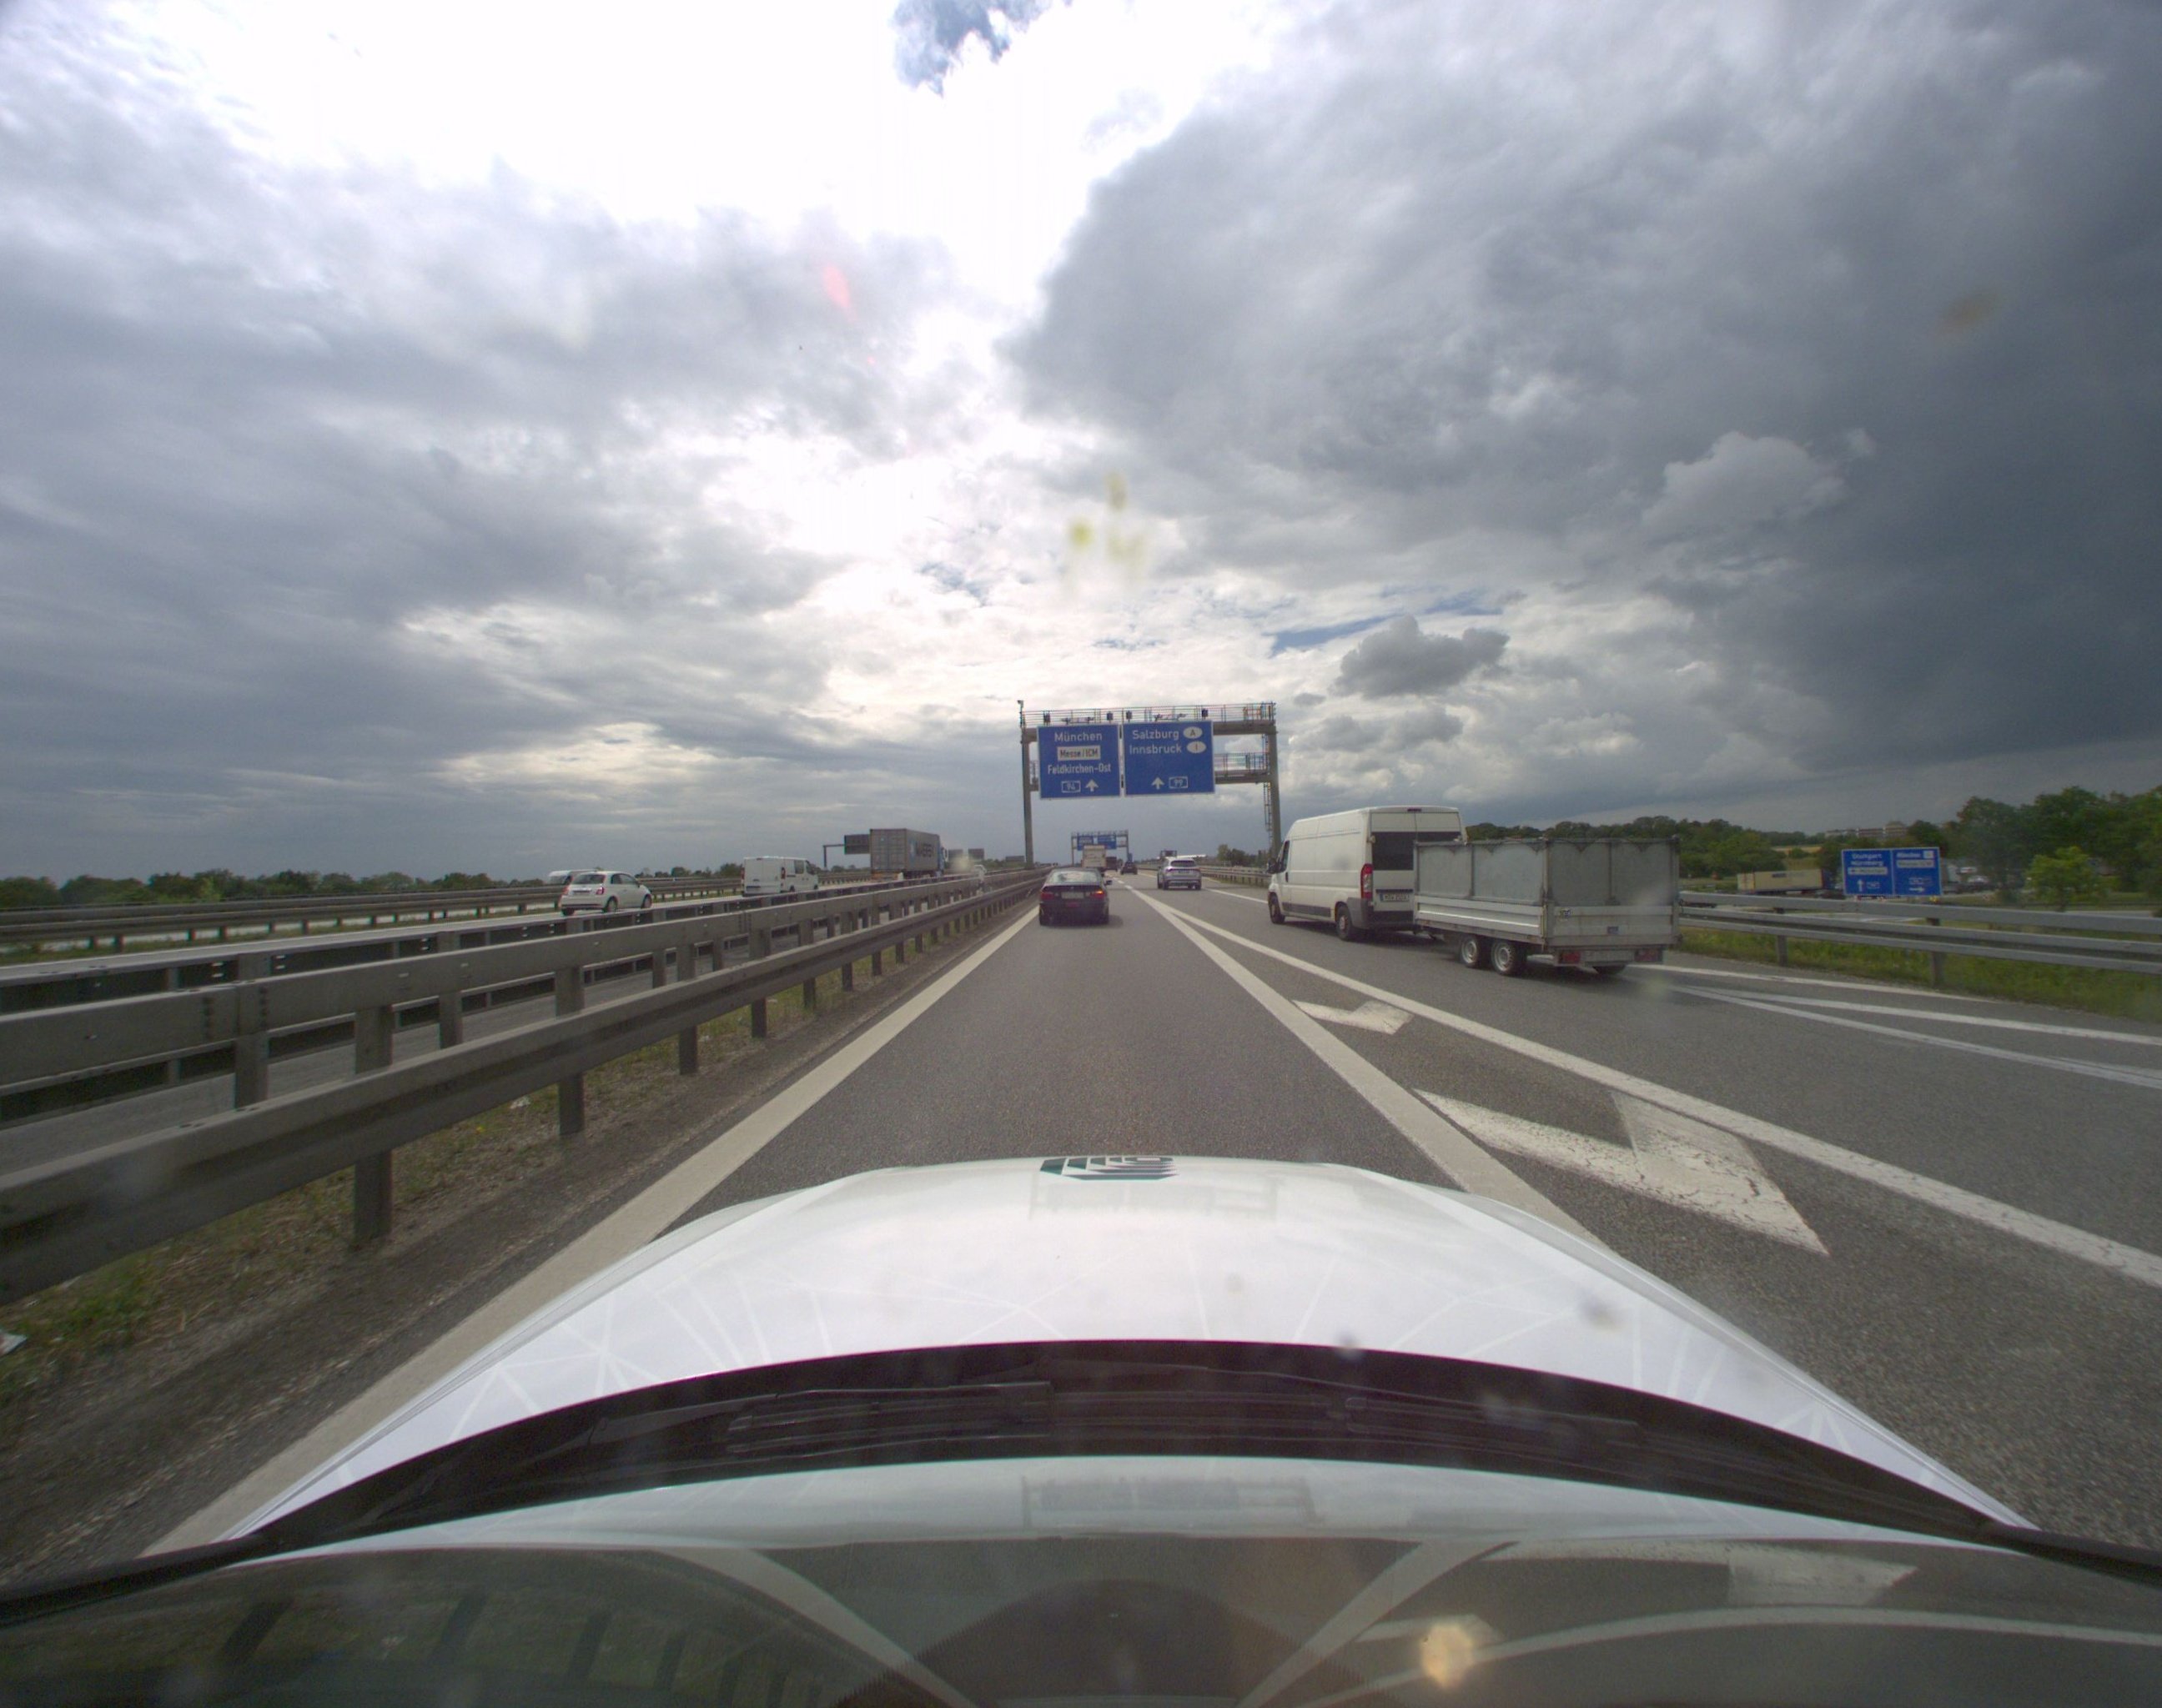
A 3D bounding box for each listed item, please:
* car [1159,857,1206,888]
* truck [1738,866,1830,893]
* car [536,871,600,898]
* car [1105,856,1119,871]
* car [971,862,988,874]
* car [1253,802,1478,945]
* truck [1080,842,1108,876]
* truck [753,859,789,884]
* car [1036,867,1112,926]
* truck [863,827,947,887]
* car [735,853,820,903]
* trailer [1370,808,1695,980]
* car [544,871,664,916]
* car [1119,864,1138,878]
[{"bbox_3d":[5.092,0.907,41.491,1.814,1.514,3.998,0,-1,-1],"label":"car"},{"bbox_3d":[105.945,3.884,122.720,13.705,3.936,3.297,1,-1,-14],"label":"truck"},{"bbox_3d":[-46.025,2.688,73.240,2.189,2.223,5.516,0,-1,0],"label":"car"},{"bbox_3d":[4.792,1.503,125.091,1.900,2.262,4.648,0,-1,0],"label":"car"},{"bbox_3d":[-14.324,1.963,115.307,1.821,1.563,4.001,-1,-1,1],"label":"car"},{"bbox_3d":[5.567,0.356,17.095,2.110,2.454,6.140,0,-1,-5],"label":"car"},{"bbox_3d":[1.261,0.600,80.373,2.560,3.126,8.632,0,-2,0],"label":"truck"},{"bbox_3d":[-45.061,2.528,118.502,3.032,3.609,5.893,-1,-1,0],"label":"truck"},{"bbox_3d":[-0.092,0.993,20.511,1.697,1.281,4.367,0,0,2],"label":"car"},{"bbox_3d":[-13.049,0.256,62.343,3.174,4.019,16.067,0,0,-1],"label":"truck"},{"bbox_3d":[-13.047,1.010,35.285,1.987,2.014,4.374,0,-1,0],"label":"car"},{"bbox_3d":[6.155,0.480,11.904,1.852,2.014,4.622,0,-1,-6],"label":"trailer"},{"bbox_3d":[-16.732,1.356,28.818,1.791,1.420,4.001,0,-1,2],"label":"car"},{"bbox_3d":[5.267,1.871,90.068,1.879,1.552,3.999,0,-1,0],"label":"car"}]
